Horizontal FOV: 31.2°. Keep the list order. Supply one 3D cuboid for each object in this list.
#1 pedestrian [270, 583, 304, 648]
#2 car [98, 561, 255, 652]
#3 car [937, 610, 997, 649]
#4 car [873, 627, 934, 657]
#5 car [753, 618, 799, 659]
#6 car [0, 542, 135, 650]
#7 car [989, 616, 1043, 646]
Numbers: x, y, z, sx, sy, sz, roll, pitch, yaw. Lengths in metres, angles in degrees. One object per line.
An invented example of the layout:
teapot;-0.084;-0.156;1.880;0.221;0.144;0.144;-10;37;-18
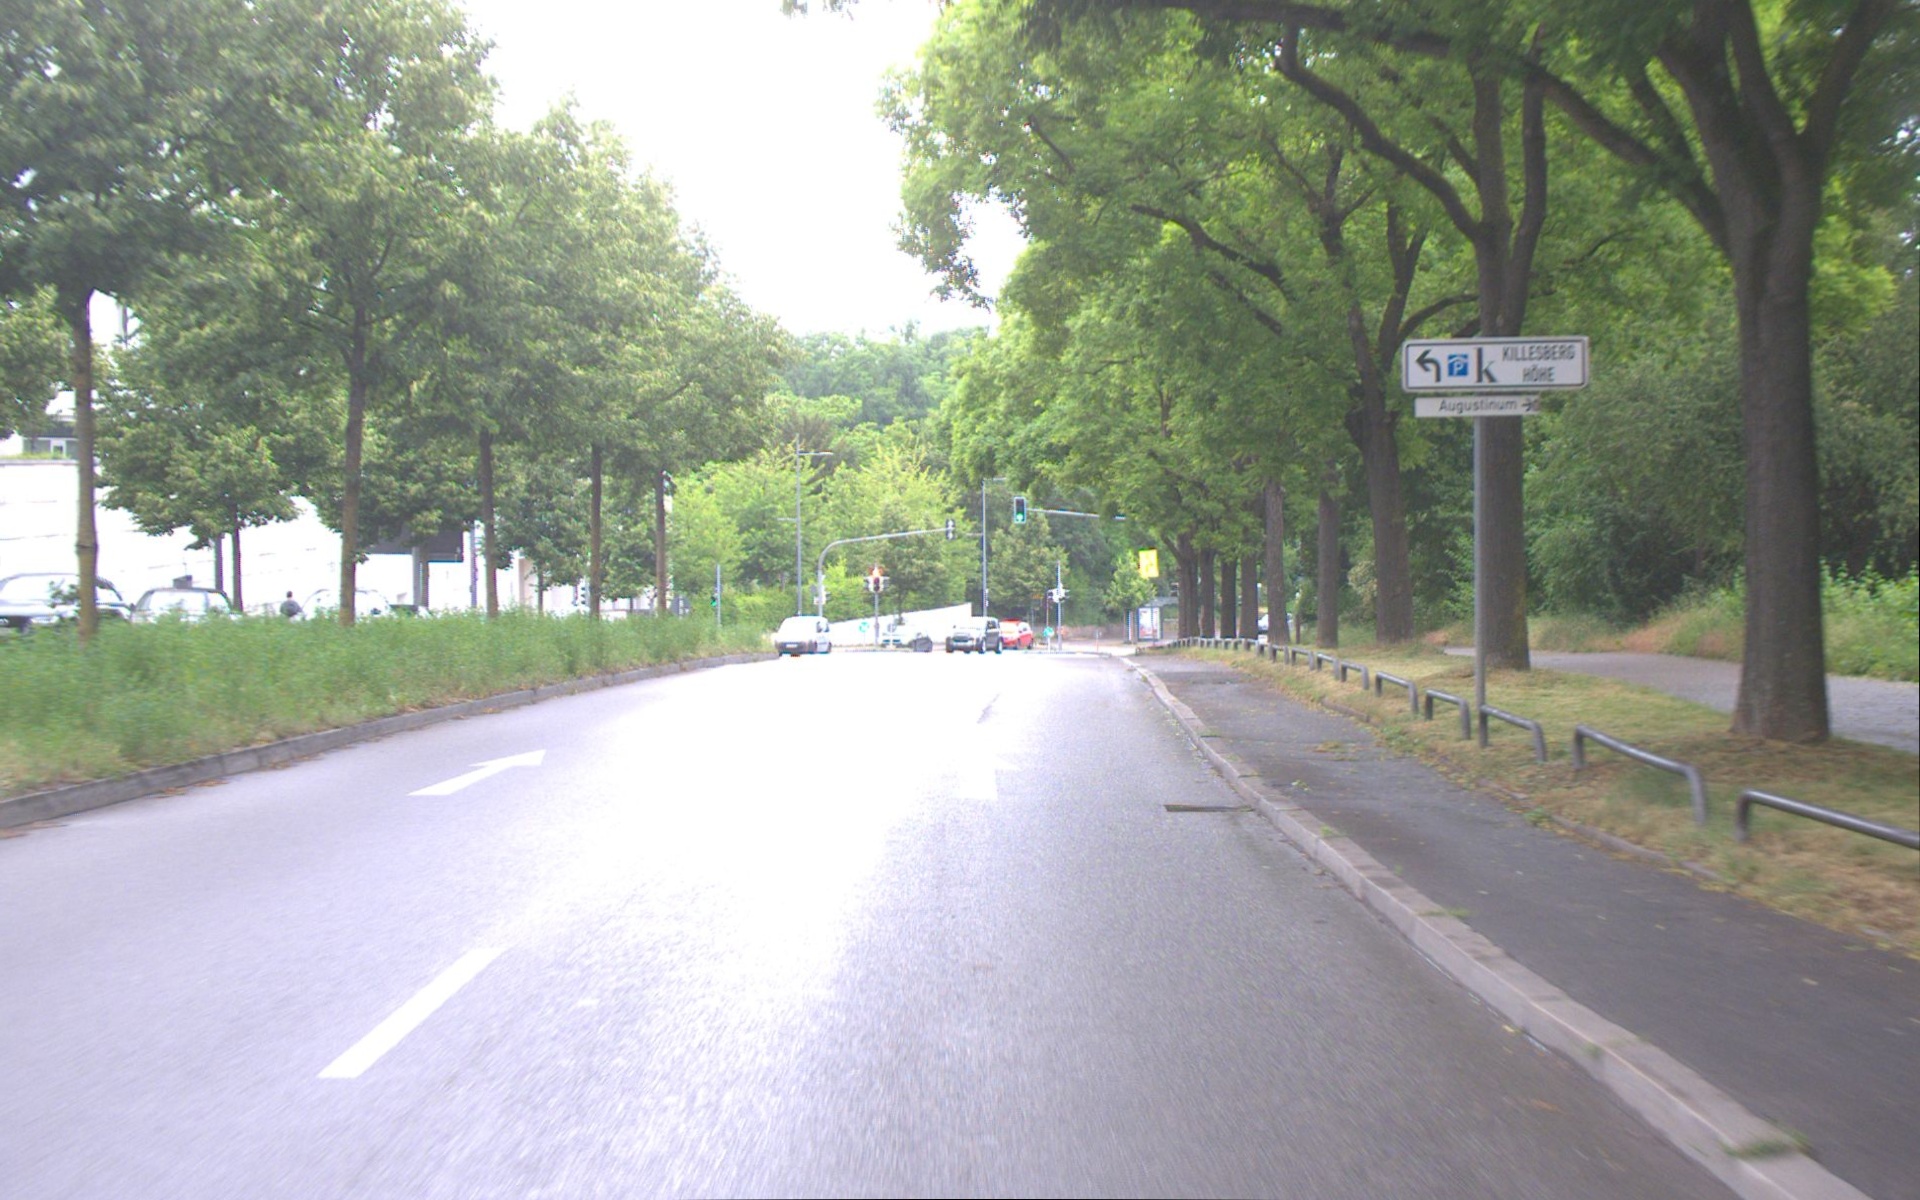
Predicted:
pedestrian;-18.530;0.432;94.673;0.708;1.768;1.021;0;-1;2
car;-14.010;0.088;61.641;1.695;1.439;3.860;1;2;4
car;0.380;1.527;176.930;1.922;1.851;4.503;-4;-1;15
car;-2.703;2.010;164.811;1.771;1.376;4.187;-2;-1;16
car;-8.023;1.683;149.967;1.710;1.740;4.337;0;-1;1
car;-14.206;-0.091;53.328;1.695;1.576;4.017;0;1;2
car;3.147;1.744;192.895;1.876;1.569;4.219;2;0;17
